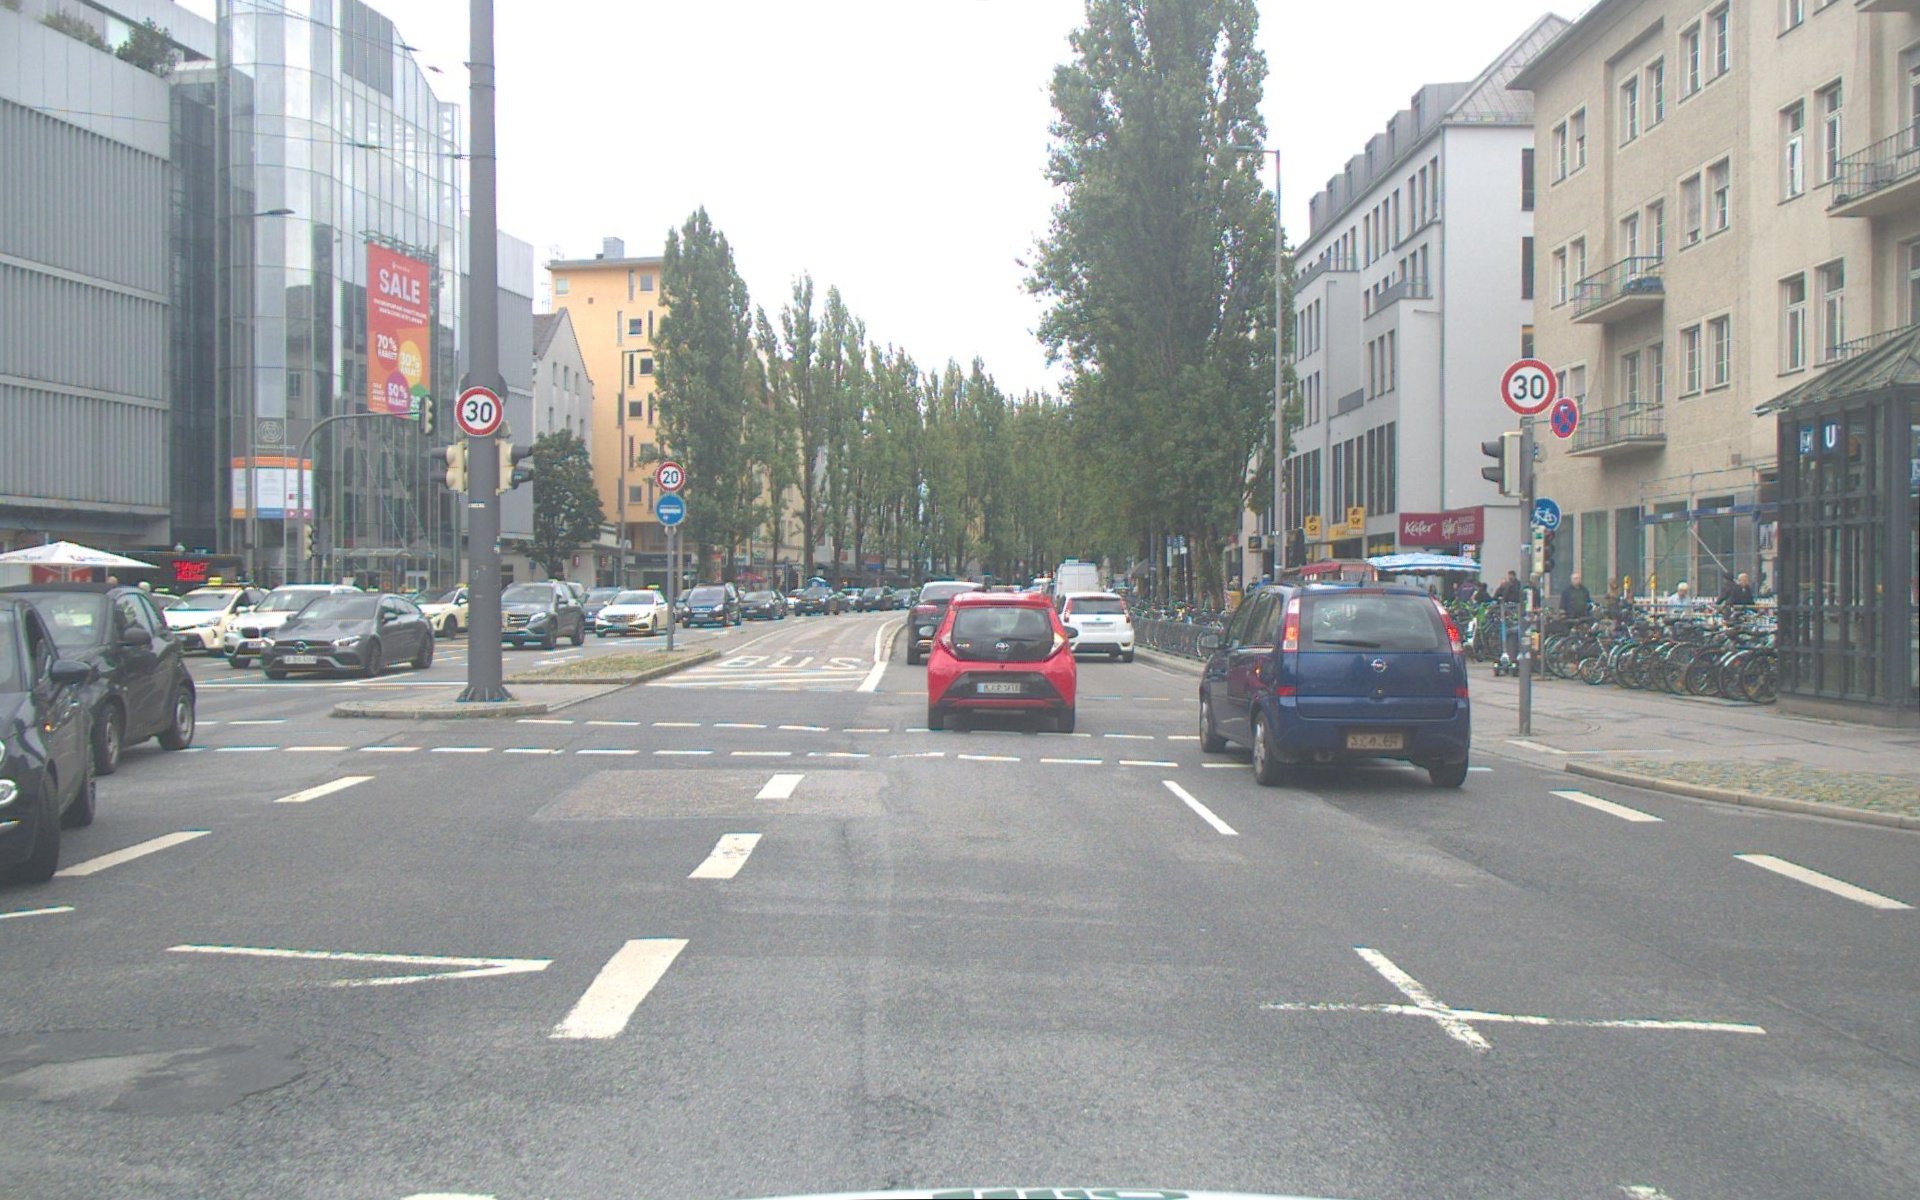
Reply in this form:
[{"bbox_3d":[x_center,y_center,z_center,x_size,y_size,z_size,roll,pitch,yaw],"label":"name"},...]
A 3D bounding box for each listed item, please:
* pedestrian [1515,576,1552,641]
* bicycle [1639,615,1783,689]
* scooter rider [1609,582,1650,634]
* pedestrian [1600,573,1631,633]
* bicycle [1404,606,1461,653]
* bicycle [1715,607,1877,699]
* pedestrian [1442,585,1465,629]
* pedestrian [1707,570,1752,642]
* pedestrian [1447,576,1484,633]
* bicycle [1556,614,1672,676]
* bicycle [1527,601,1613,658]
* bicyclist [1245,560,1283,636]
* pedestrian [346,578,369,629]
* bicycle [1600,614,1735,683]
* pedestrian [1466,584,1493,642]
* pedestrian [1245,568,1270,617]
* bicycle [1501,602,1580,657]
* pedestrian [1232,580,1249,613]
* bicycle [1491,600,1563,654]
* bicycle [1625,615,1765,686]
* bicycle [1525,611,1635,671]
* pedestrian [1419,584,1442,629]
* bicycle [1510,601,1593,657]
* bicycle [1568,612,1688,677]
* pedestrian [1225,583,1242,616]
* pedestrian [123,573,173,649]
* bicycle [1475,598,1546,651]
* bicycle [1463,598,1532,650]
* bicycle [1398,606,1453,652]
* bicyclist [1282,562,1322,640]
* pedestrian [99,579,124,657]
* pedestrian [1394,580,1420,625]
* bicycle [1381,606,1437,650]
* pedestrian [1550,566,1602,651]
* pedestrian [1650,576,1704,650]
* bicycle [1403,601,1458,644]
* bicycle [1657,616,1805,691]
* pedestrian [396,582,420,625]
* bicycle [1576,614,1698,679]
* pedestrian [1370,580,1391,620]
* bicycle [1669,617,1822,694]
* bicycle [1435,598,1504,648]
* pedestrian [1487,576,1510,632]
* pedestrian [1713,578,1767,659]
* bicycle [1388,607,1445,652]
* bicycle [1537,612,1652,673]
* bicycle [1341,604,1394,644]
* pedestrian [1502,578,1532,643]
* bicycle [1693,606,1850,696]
[{"bbox_3d":[15.850,0.220,45.699,0.727,1.758,0.758,-1,0,-1],"label":"pedestrian"},{"bbox_3d":[10.469,0.720,23.085,1.801,0.981,0.508,-1,0,-3],"label":"bicycle"},{"bbox_3d":[16.278,0.183,40.211,0.671,1.241,0.719,-1,0,-3],"label":"scooter rider"},{"bbox_3d":[18.292,0.083,46.185,0.628,1.673,0.562,0,0,-1],"label":"pedestrian"},{"bbox_3d":[10.105,0.632,35.403,1.110,0.980,0.369,0,0,5],"label":"bicycle"},{"bbox_3d":[10.491,0.655,20.775,1.801,1.113,0.508,-1,0,-3],"label":"bicycle"},{"bbox_3d":[15.931,0.226,53.449,0.563,1.427,0.580,0,0,-1],"label":"pedestrian"},{"bbox_3d":[17.295,0.126,37.200,0.635,1.596,0.787,0,0,0],"label":"pedestrian"},{"bbox_3d":[14.022,0.123,45.907,0.794,1.548,0.798,0,0,32],"label":"pedestrian"},{"bbox_3d":[10.546,0.721,26.689,1.719,0.981,0.453,-1,0,-3],"label":"bicycle"},{"bbox_3d":[11.951,0.579,32.430,1.518,1.094,0.451,0,0,0],"label":"bicycle"},{"bbox_3d":[7.758,-0.063,42.239,0.747,1.902,1.133,0,0,0],"label":"bicyclist"},{"bbox_3d":[-21.862,0.133,60.029,0.545,1.849,0.628,0,0,10],"label":"pedestrian"},{"bbox_3d":[10.446,0.710,24.443,1.801,0.981,0.508,-1,0,-3],"label":"bicycle"},{"bbox_3d":[13.904,0.349,44.292,0.568,1.531,0.615,0,0,30],"label":"pedestrian"},{"bbox_3d":[10.937,-0.275,60.872,0.774,1.758,0.763,0,0,-1],"label":"pedestrian"},{"bbox_3d":[11.789,0.587,33.586,1.521,1.094,0.368,-1,0,-8],"label":"bicycle"},{"bbox_3d":[13.490,-0.153,79.664,0.698,1.585,0.676,0,0,-1],"label":"pedestrian"},{"bbox_3d":[11.691,0.559,34.103,1.399,1.094,0.368,-1,0,-8],"label":"bicycle"},{"bbox_3d":[10.487,0.717,23.618,1.801,0.981,0.508,-1,0,-3],"label":"bicycle"},{"bbox_3d":[10.471,0.690,27.940,1.718,0.981,0.369,0,0,0],"label":"bicycle"},{"bbox_3d":[15.199,0.206,53.461,0.586,1.427,0.580,0,0,-1],"label":"pedestrian"},{"bbox_3d":[11.813,0.570,33.057,1.520,1.094,0.451,-1,0,-5],"label":"bicycle"},{"bbox_3d":[10.508,0.696,26.026,1.719,0.981,0.453,-1,0,-3],"label":"bicycle"},{"bbox_3d":[13.666,-0.028,82.671,0.748,1.621,0.676,0,0,-1],"label":"pedestrian"},{"bbox_3d":[-18.736,0.250,38.179,0.754,1.720,0.752,0,0,4],"label":"pedestrian"},{"bbox_3d":[11.616,0.517,34.891,1.399,1.094,0.368,-1,0,-8],"label":"bicycle"},{"bbox_3d":[11.531,0.511,35.483,1.399,1.094,0.368,-1,0,-8],"label":"bicycle"},{"bbox_3d":[10.082,0.628,35.842,1.110,0.980,0.369,0,0,5],"label":"bicycle"},{"bbox_3d":[7.581,0.011,36.706,0.601,1.686,1.251,0,0,0],"label":"bicyclist"},{"bbox_3d":[-19.597,0.405,38.205,0.438,1.790,0.354,0,0,35],"label":"pedestrian"},{"bbox_3d":[16.071,0.088,59.433,0.717,1.630,0.742,0,0,-1],"label":"pedestrian"},{"bbox_3d":[10.050,0.621,37.035,1.157,0.980,0.369,-1,0,-3],"label":"bicycle"},{"bbox_3d":[13.083,0.169,35.147,0.796,1.758,0.758,-1,0,-1],"label":"pedestrian"},{"bbox_3d":[15.298,0.277,35.300,0.762,1.544,0.758,-1,0,-3],"label":"pedestrian"},{"bbox_3d":[11.315,0.538,39.779,1.219,0.998,0.369,-1,0,-4],"label":"bicycle"},{"bbox_3d":[10.463,0.724,22.465,1.801,0.981,0.508,-1,0,-3],"label":"bicycle"},{"bbox_3d":[-22.202,0.148,66.484,0.637,1.721,0.712,0,0,12],"label":"pedestrian"},{"bbox_3d":[10.443,0.713,25.520,1.719,0.981,0.453,-1,0,-3],"label":"bicycle"},{"bbox_3d":[14.964,-0.003,58.817,0.586,1.427,0.580,0,0,-1],"label":"pedestrian"},{"bbox_3d":[10.405,0.725,21.931,1.801,0.981,0.508,-1,0,-3],"label":"bicycle"},{"bbox_3d":[11.489,0.507,37.282,1.472,1.094,0.368,-1,0,-8],"label":"bicycle"},{"bbox_3d":[14.588,0.096,44.808,0.497,1.510,0.463,0,0,34],"label":"pedestrian"},{"bbox_3d":[16.515,0.383,35.031,0.735,1.679,0.758,-1,0,-3],"label":"pedestrian"},{"bbox_3d":[10.063,0.645,36.491,1.156,0.980,0.369,0,0,3],"label":"bicycle"},{"bbox_3d":[10.447,0.700,27.247,1.718,0.981,0.453,0,0,0],"label":"bicycle"},{"bbox_3d":[10.060,0.585,40.859,1.234,0.980,0.369,0,0,8],"label":"bicycle"},{"bbox_3d":[14.746,0.279,43.818,0.590,1.699,0.683,0,0,34],"label":"pedestrian"},{"bbox_3d":[10.460,0.650,21.341,1.801,1.113,0.508,-1,0,-3],"label":"bicycle"}]
